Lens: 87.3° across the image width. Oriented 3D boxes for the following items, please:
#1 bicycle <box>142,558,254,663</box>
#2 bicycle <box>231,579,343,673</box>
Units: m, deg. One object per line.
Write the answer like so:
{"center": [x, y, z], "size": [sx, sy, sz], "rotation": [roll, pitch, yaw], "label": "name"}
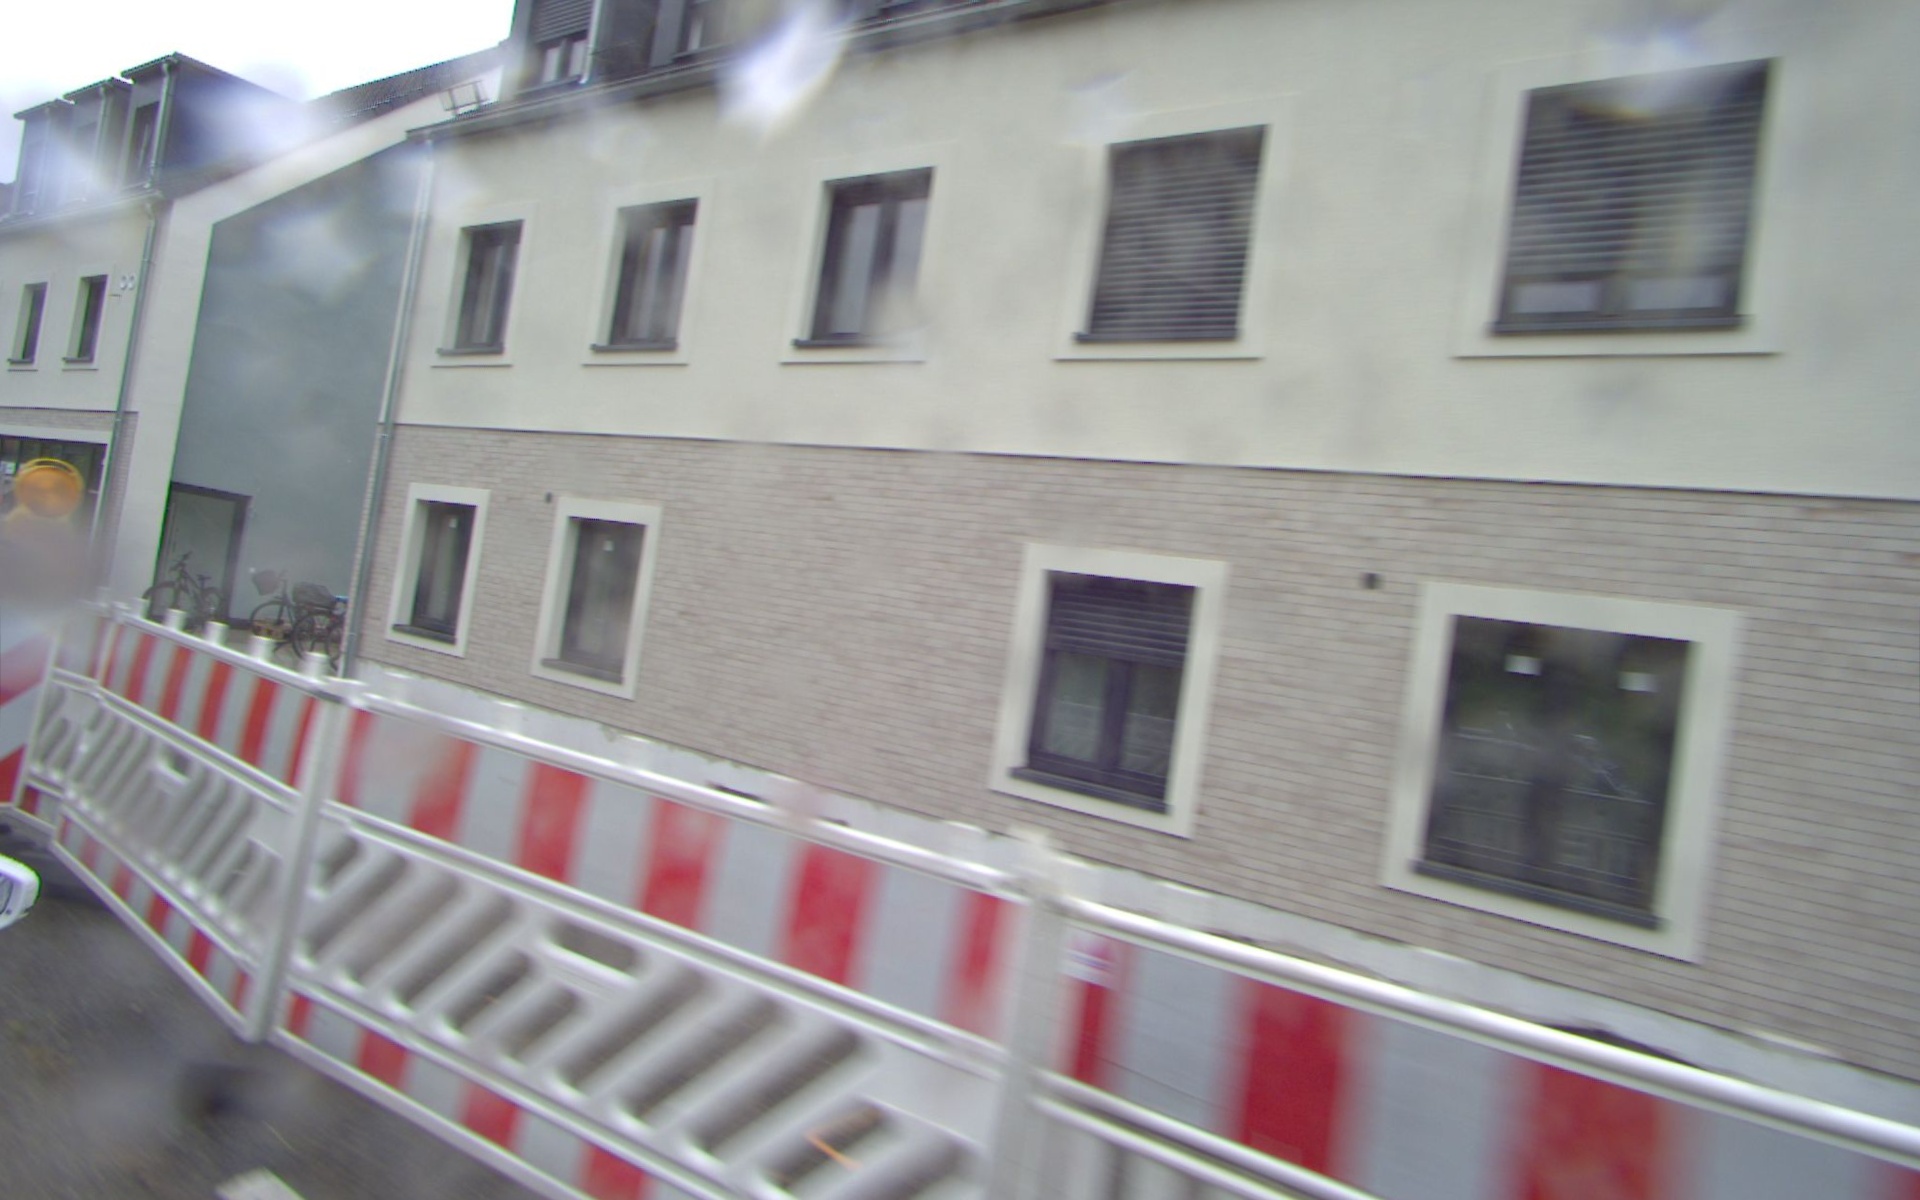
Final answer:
{"center": [-10.675, 0.133, 14.075], "size": [1.760, 1.233, 0.519], "rotation": [6, -4, 33], "label": "bicycle"}
{"center": [-9.653, 0.361, 14.408], "size": [1.760, 1.114, 0.519], "rotation": [6, -4, 33], "label": "bicycle"}
